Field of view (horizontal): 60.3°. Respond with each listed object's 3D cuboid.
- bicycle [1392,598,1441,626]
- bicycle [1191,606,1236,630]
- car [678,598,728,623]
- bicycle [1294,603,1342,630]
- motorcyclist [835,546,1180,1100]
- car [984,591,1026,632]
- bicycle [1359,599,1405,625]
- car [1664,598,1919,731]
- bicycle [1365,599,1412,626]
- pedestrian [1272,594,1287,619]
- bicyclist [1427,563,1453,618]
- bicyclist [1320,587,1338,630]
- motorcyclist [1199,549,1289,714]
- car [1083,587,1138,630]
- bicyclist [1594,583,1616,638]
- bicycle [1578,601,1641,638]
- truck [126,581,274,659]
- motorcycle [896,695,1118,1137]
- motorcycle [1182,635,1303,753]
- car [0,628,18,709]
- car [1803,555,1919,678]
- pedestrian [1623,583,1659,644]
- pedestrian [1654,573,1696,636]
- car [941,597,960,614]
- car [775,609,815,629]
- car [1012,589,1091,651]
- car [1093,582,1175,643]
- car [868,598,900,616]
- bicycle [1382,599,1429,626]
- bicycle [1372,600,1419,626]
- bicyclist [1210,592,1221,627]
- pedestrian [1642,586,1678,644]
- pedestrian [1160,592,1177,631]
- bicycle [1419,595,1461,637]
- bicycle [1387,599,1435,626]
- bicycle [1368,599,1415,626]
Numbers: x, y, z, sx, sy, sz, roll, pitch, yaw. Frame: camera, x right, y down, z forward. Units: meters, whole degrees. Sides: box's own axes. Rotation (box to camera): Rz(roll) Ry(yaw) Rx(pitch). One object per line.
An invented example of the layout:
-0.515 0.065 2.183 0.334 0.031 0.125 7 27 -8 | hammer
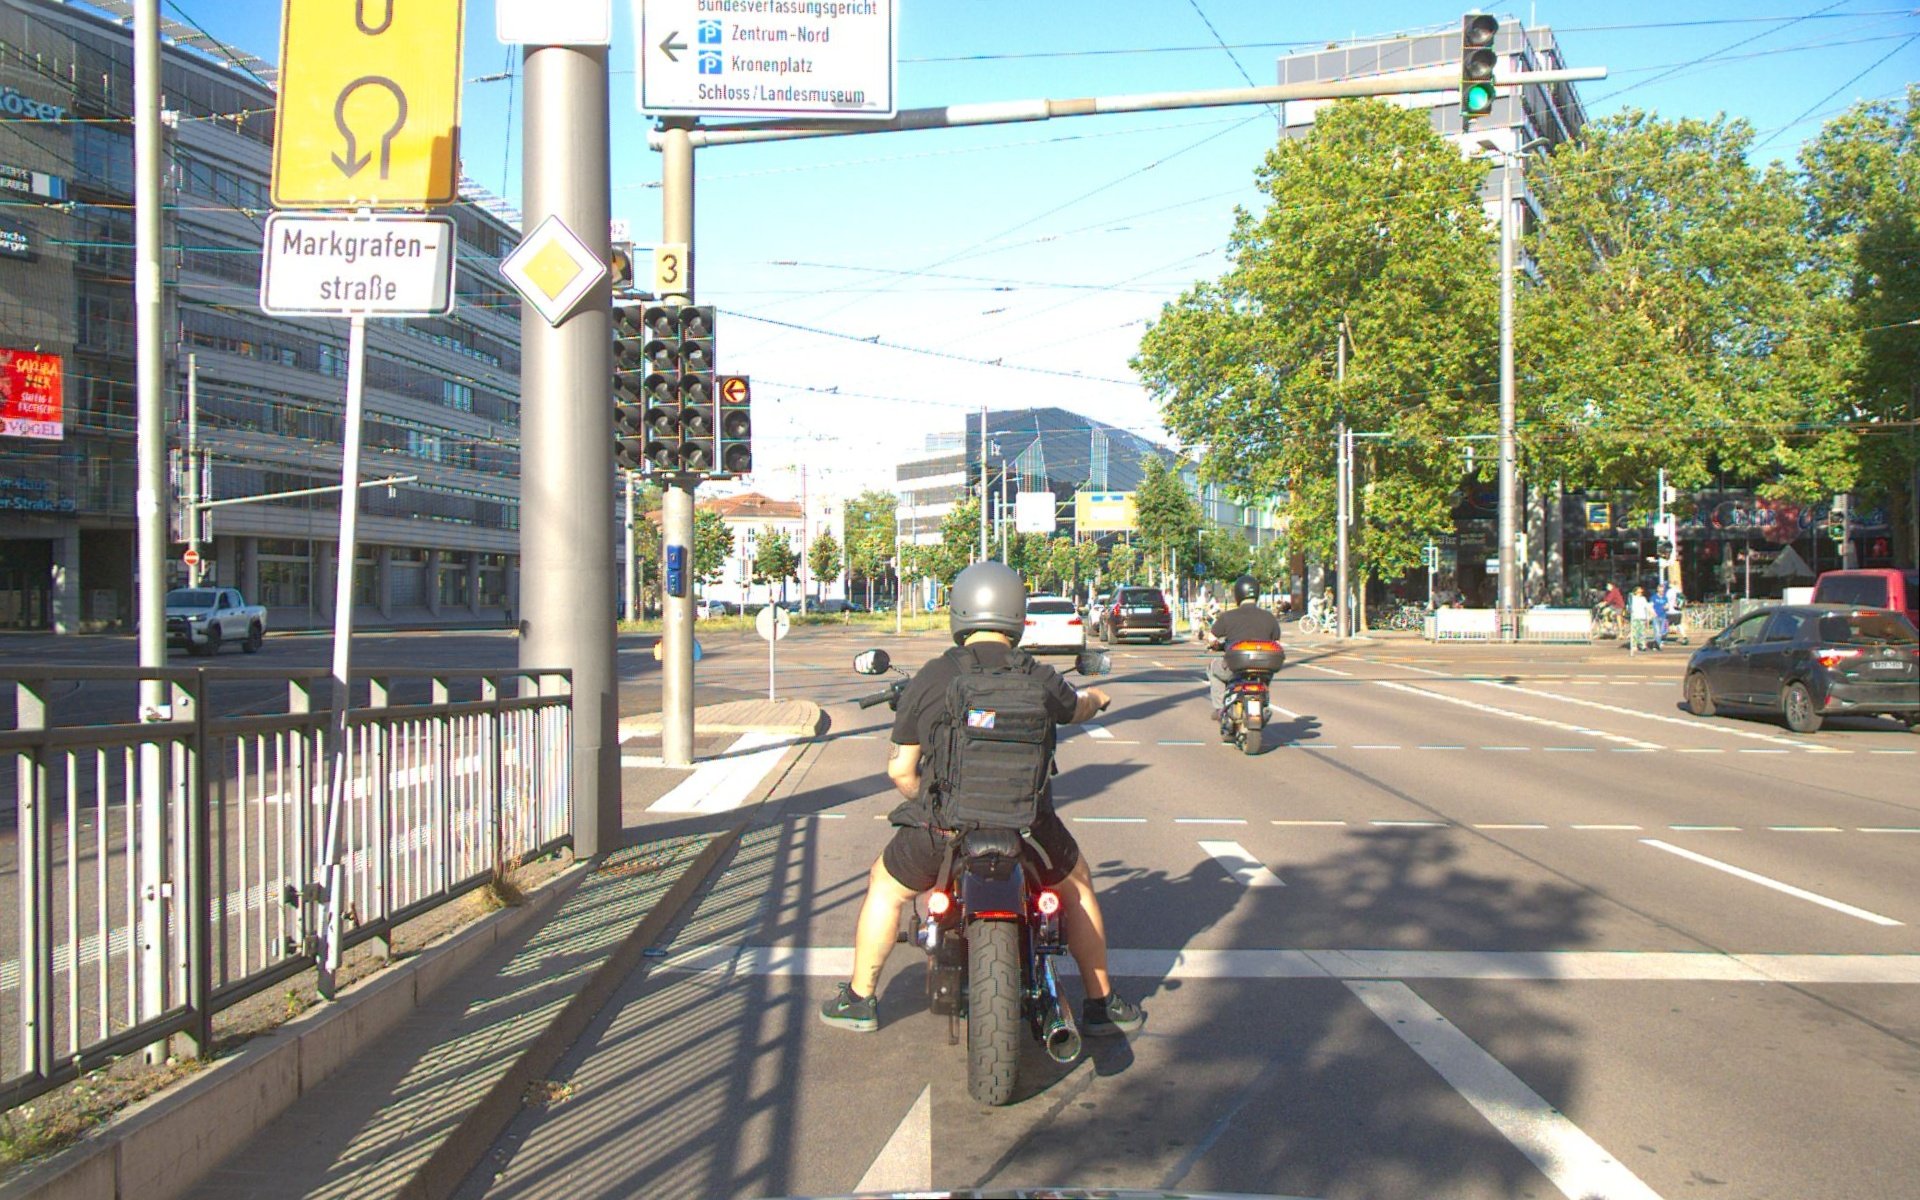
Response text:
18.227 0.475 65.996 1.842 1.065 0.360 1 -1 -2 | bicycle
10.268 0.738 67.036 1.789 0.942 0.357 1 -1 24 | bicycle
-15.808 0.607 101.803 1.786 1.455 4.534 0 0 8 | car
14.172 0.666 65.524 1.831 1.062 0.537 0 -1 18 | bicycle
0.133 0.650 5.296 1.009 1.621 0.873 0 0 -1 | motorcyclist
1.986 0.524 72.668 1.766 1.708 4.042 1 -1 2 | car
18.097 0.527 70.915 1.842 1.064 0.360 1 0 -2 | bicycle
10.723 0.739 20.947 1.697 1.475 4.038 1 0 -4 | car
18.069 0.525 69.763 1.842 1.064 0.360 1 0 -2 | bicycle
17.593 0.364 91.052 0.802 1.337 0.638 1 -1 8 | pedestrian
16.344 -0.323 56.315 0.682 1.840 0.729 1 -1 3 | bicyclist
14.592 0.344 65.404 0.673 1.702 0.541 0 -1 18 | bicyclist
2.828 0.312 16.504 0.780 1.607 0.529 1 -1 -2 | motorcyclist
5.887 0.307 65.038 1.696 1.626 4.040 1 1 -1 | car
22.188 0.361 56.923 0.572 1.870 0.402 1 -1 -1 | bicyclist
22.346 0.678 56.916 2.001 1.235 0.421 1 -1 -1 | bicycle
-20.541 0.549 44.980 1.955 1.912 5.150 -2 -1 -5 | truck
0.112 0.927 5.628 0.588 1.054 2.233 1 0 -1 | motorcycle
2.810 0.907 16.714 0.787 1.069 2.375 1 -1 -1 | motorcycle
-14.498 0.906 22.390 2.835 1.081 1.235 1 -1 -22 | car
17.255 0.305 29.358 4.403 2.044 1.794 1 0 -26 | car
17.773 0.357 43.158 0.556 1.559 0.700 1 -1 -13 | pedestrian
19.880 0.135 46.000 0.816 1.734 0.759 1 -1 -1 | pedestrian
-1.138 0.686 204.015 1.951 2.049 4.303 1 -1 5 | car
-12.230 1.430 122.612 1.786 1.455 4.244 1 -1 11 | car
2.306 0.503 42.682 1.696 1.482 4.417 1 -1 -1 | car
5.375 0.347 51.699 1.698 1.762 4.607 1 1 -5 | car
-6.565 0.613 142.554 1.712 1.550 4.003 1 -1 13 | car
18.206 0.515 67.592 1.842 1.065 0.360 1 -1 -2 | bicycle
18.099 0.535 68.778 1.842 1.065 0.360 1 -1 -2 | bicycle
10.356 0.372 66.993 0.373 1.397 0.345 1 -1 22 | bicyclist
18.327 0.399 43.303 0.556 1.505 0.699 1 -1 -15 | pedestrian
8.662 0.482 68.729 0.576 1.584 0.488 1 -1 -9 | pedestrian
16.320 0.545 56.291 0.710 1.391 2.918 1 -1 3 | bicycle
18.222 0.494 66.778 1.842 1.065 0.360 1 -1 -2 | bicycle
18.066 0.526 69.263 1.842 1.064 0.360 1 0 -2 | bicycle
